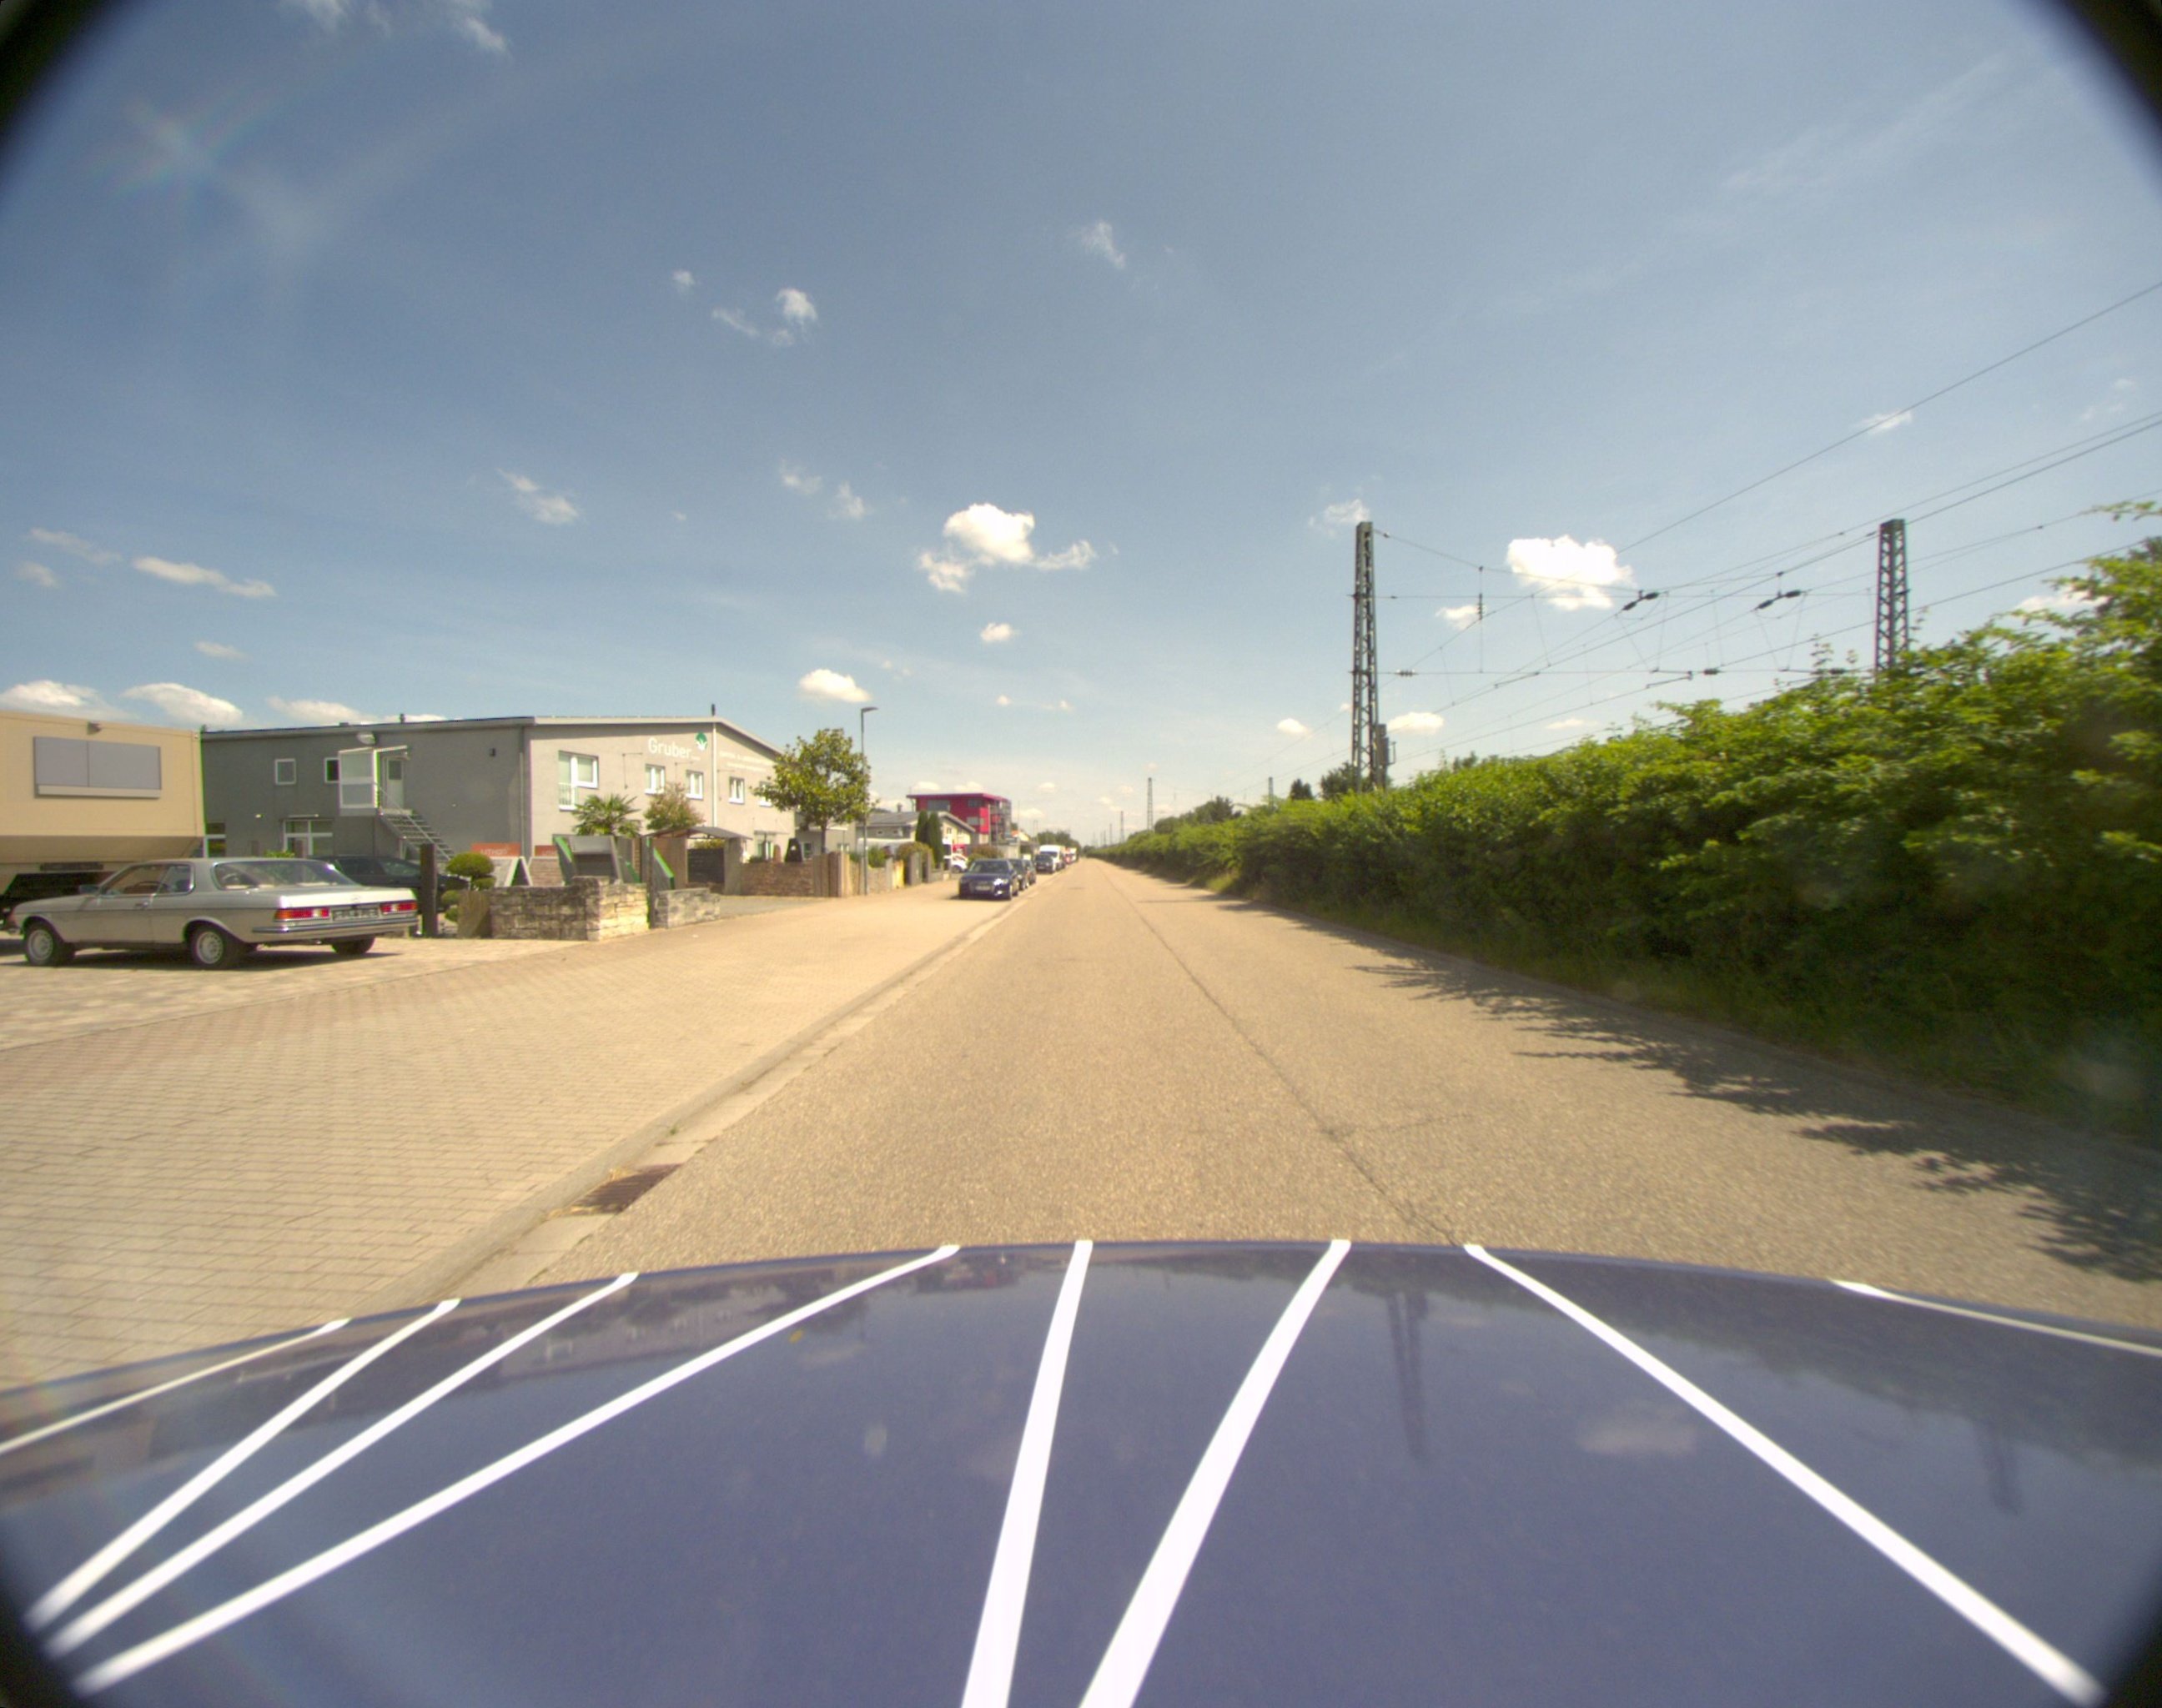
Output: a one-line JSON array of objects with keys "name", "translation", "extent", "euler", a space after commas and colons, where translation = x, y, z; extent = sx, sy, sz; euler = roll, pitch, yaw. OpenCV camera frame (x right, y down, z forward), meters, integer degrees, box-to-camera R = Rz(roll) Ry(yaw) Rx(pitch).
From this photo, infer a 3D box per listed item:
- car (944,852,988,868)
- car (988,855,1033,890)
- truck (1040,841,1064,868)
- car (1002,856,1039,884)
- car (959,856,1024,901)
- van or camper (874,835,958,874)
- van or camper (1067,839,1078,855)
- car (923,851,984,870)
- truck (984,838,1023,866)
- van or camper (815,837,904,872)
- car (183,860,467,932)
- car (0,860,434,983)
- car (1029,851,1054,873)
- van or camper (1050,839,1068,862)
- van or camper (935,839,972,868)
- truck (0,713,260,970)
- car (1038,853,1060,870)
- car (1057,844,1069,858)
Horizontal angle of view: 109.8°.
[{"name": "car", "translation": [-10.435, 0.540, 69.244], "extent": [3.702, 1.478, 1.714], "euler": [0, 1, 1]}, {"name": "car", "translation": [-3.155, 0.791, 34.634], "extent": [1.618, 1.464, 3.875], "euler": [1, 0, 0]}, {"name": "truck", "translation": [-2.804, 0.013, 74.775], "extent": [1.998, 2.550, 5.289], "euler": [0, 0, 1]}, {"name": "car", "translation": [-3.236, 0.836, 41.307], "extent": [1.618, 1.415, 4.195], "euler": [1, 0, 0]}, {"name": "car", "translation": [-3.175, 0.817, 27.890], "extent": [1.766, 1.464, 4.718], "euler": [1, 0, 0]}, {"name": "van or camper", "translation": [-10.956, 0.006, 50.661], "extent": [5.098, 2.519, 2.002], "euler": [0, 1, 14]}, {"name": "van or camper", "translation": [-1.914, -1.615, 174.178], "extent": [2.333, 3.497, 4.769], "euler": [-2, 1, 0]}, {"name": "car", "translation": [-10.286, 0.531, 61.294], "extent": [4.606, 1.478, 1.714], "euler": [0, 1, 1]}, {"name": "truck", "translation": [-7.532, -0.185, 74.706], "extent": [2.381, 2.673, 5.787], "euler": [0, 0, 9]}, {"name": "van or camper", "translation": [-15.997, 0.019, 54.936], "extent": [5.832, 2.423, 2.136], "euler": [0, 1, 11]}, {"name": "car", "translation": [-16.010, 0.806, 16.432], "extent": [1.785, 1.316, 4.005], "euler": [0, 0, 12]}, {"name": "car", "translation": [-11.525, 0.807, 10.235], "extent": [4.275, 1.412, 1.978], "euler": [0, 1, 10]}, {"name": "car", "translation": [-3.214, 0.593, 62.248], "extent": [1.805, 1.692, 4.000], "euler": [1, 0, 0]}, {"name": "van or camper", "translation": [-2.806, -0.455, 97.619], "extent": [1.998, 2.855, 4.395], "euler": [-1, 1, 0]}, {"name": "van or camper", "translation": [-12.512, -0.022, 74.806], "extent": [2.037, 2.752, 4.900], "euler": [0, 0, 9]}, {"name": "truck", "translation": [-17.164, -0.160, 11.640], "extent": [6.473, 3.368, 3.108], "euler": [0, 1, 9]}, {"name": "car", "translation": [-2.871, 0.656, 68.564], "extent": [1.805, 1.410, 3.756], "euler": [1, 0, 0]}, {"name": "car", "translation": [-2.835, -0.474, 123.019], "extent": [1.742, 2.258, 4.019], "euler": [-1, 1, 0]}]
